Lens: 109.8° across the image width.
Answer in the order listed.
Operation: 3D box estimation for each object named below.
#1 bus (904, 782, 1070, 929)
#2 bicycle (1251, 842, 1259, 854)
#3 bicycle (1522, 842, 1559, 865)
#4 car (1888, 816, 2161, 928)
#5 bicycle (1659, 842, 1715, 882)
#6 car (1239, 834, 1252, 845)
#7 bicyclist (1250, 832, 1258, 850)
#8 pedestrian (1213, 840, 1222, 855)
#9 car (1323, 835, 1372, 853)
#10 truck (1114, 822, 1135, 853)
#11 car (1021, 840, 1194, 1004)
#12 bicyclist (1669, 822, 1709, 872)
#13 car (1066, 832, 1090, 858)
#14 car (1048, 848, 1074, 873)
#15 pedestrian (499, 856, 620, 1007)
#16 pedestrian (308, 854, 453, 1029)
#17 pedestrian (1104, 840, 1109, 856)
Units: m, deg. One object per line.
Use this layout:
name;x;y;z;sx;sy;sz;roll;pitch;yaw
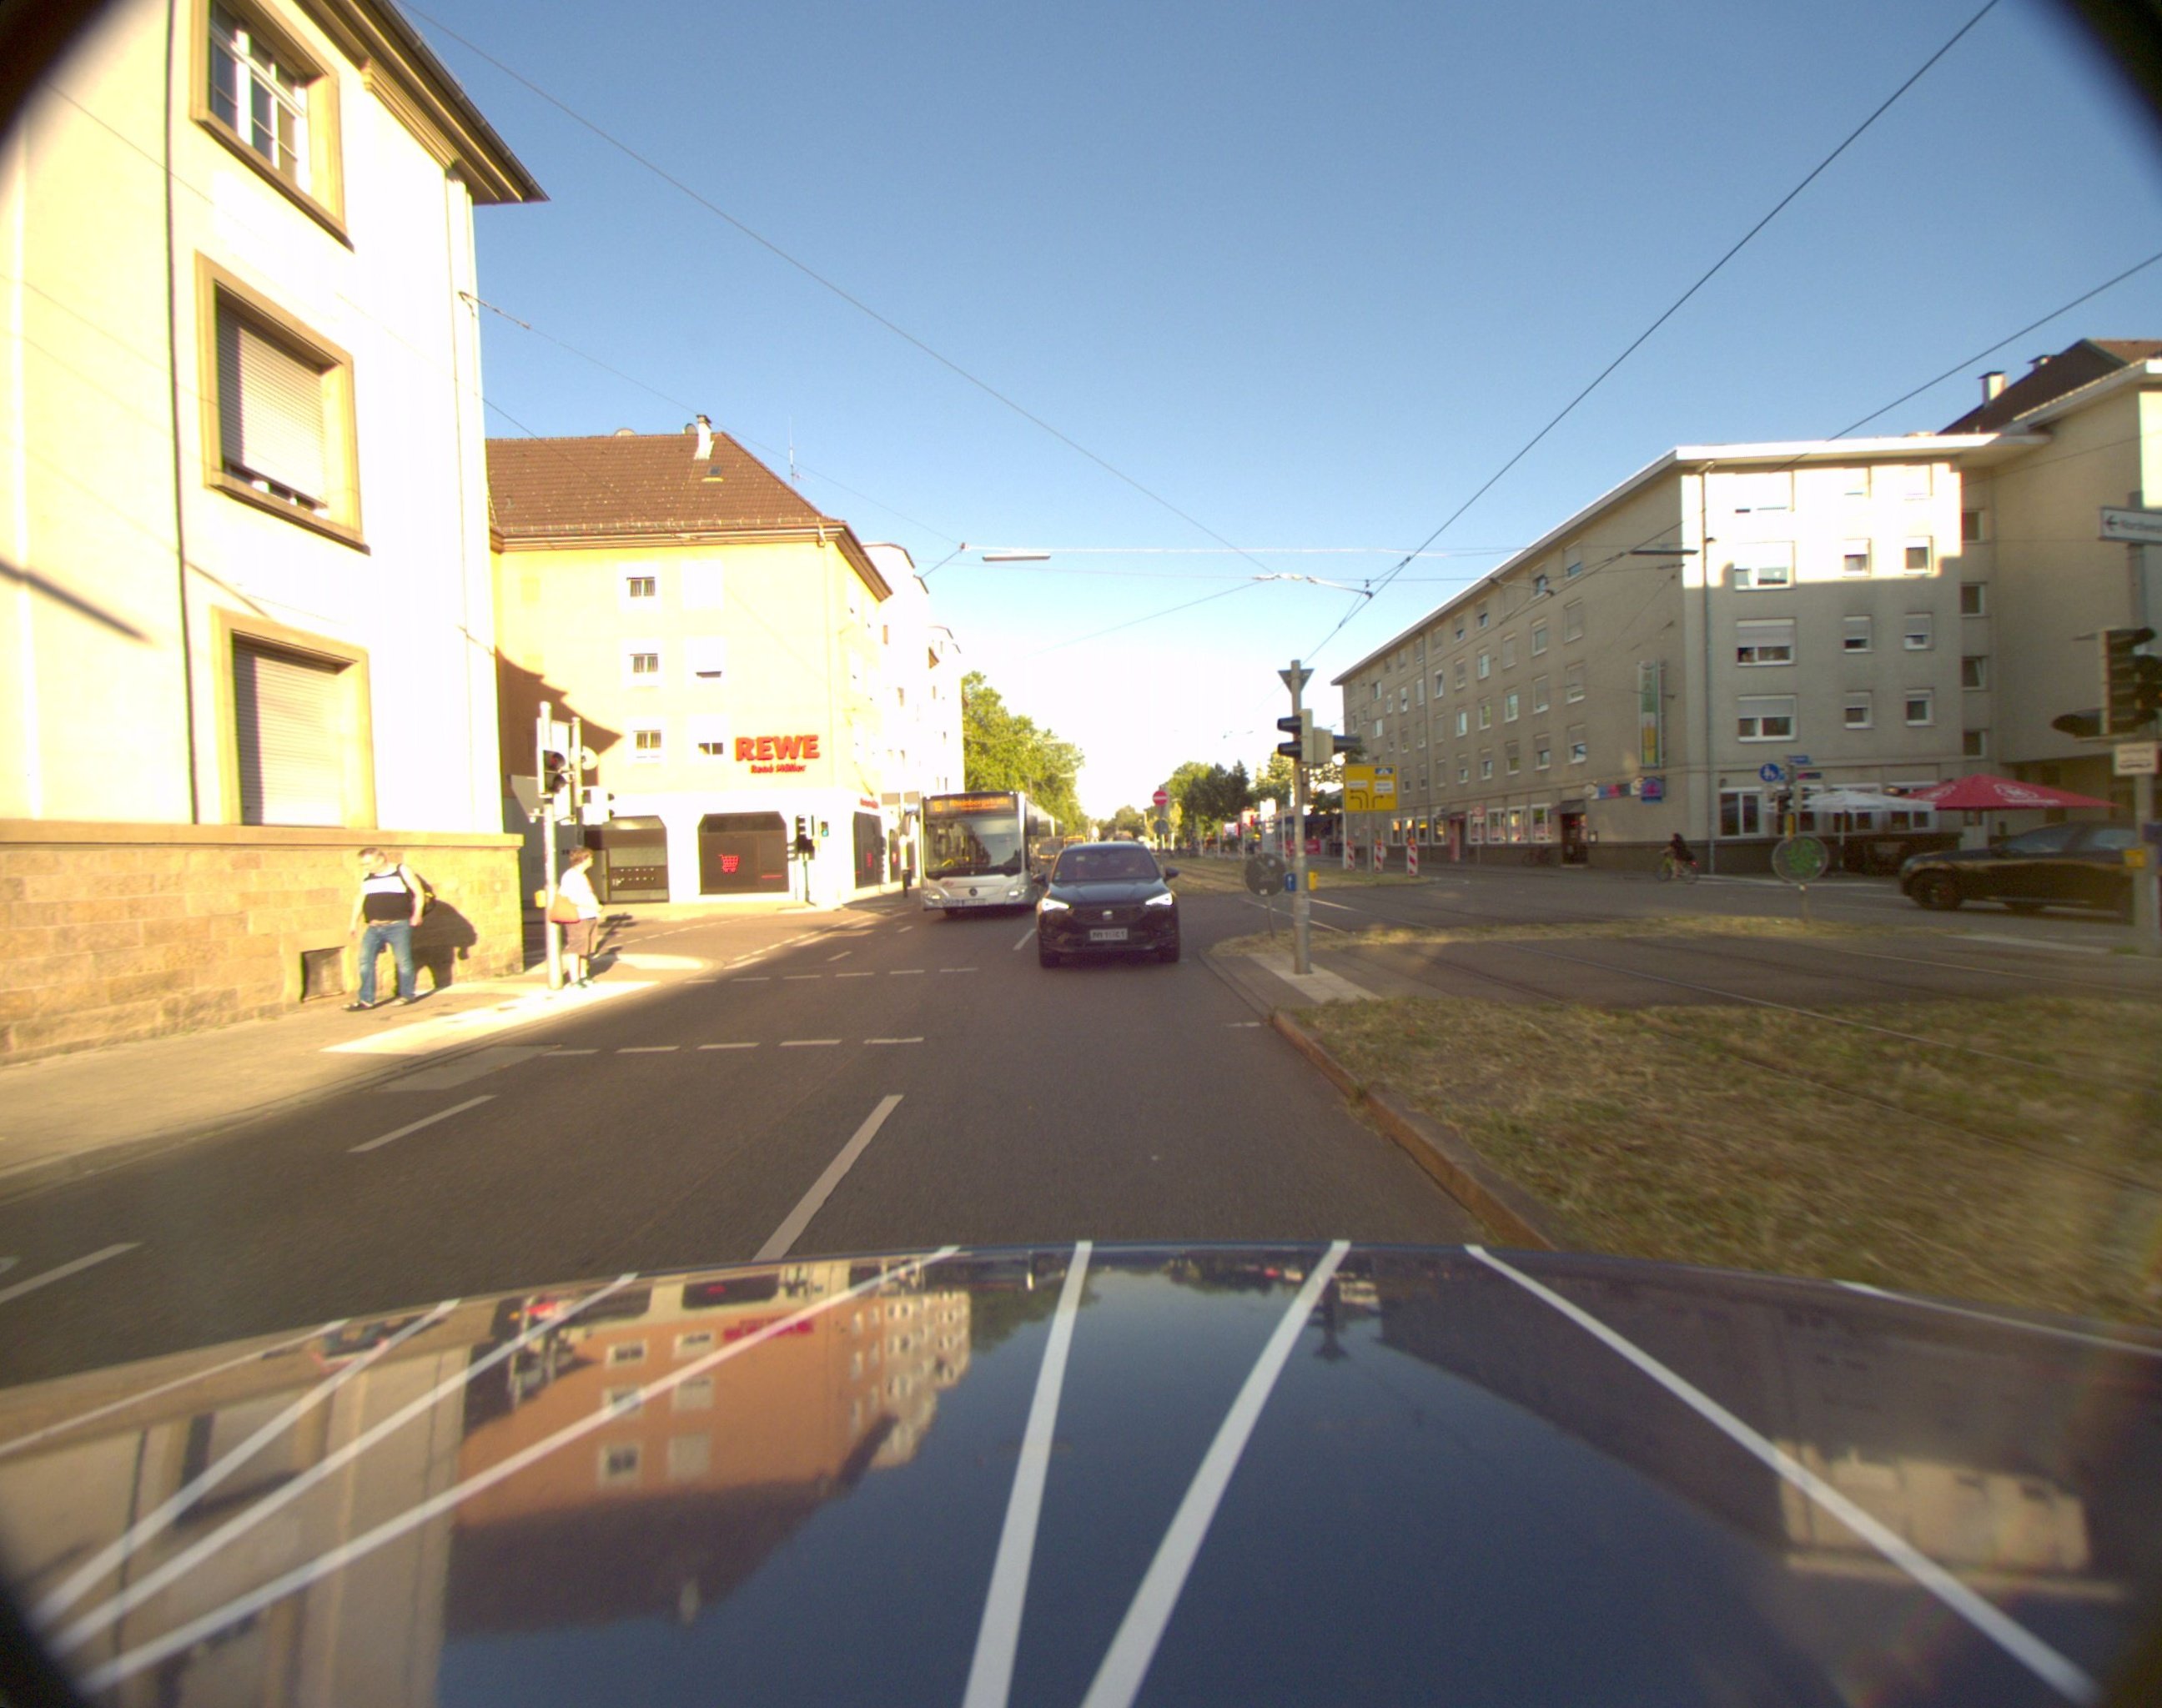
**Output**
bus;-2.205;-0.134;25.692;2.773;3.132;17.739;-3;1;2
bicycle;18.502;-0.682;80.956;0.456;1.250;1.871;-2;0;2
bicycle;21.555;-0.035;35.662;0.609;1.018;1.844;-3;2;1
car;16.799;0.216;12.576;1.902;1.624;4.747;-2;1;1
bicycle;19.826;0.243;24.898;0.456;1.250;1.871;-2;0;5
car;26.511;-2.348;122.506;1.781;1.547;4.001;-3;2;9
bicyclist;18.472;-1.373;80.971;0.652;1.872;0.809;-1;1;2
pedestrian;12.345;-0.597;68.881;0.664;1.263;0.581;-3;1;2
car;24.113;-0.886;68.858;3.727;1.460;1.908;-2;-1;0
truck;5.756;-2.225;101.886;2.306;3.799;7.722;-3;2;1
car;0.320;0.722;10.245;1.774;1.667;4.000;-4;1;1
bicyclist;19.809;-0.239;24.780;0.627;1.577;0.809;-3;1;5
car;-0.346;-1.153;92.681;2.681;2.875;5.451;-3;2;0
car;-1.409;0.443;54.286;1.750;1.598;3.823;-3;1;-1
pedestrian;-6.470;0.929;9.476;0.837;1.752;0.823;-2;2;1
pedestrian;-7.488;0.896;8.168;0.631;1.748;0.825;-3;2;1
pedestrian;3.385;-0.798;101.472;0.625;2.002;0.695;-3;1;0
